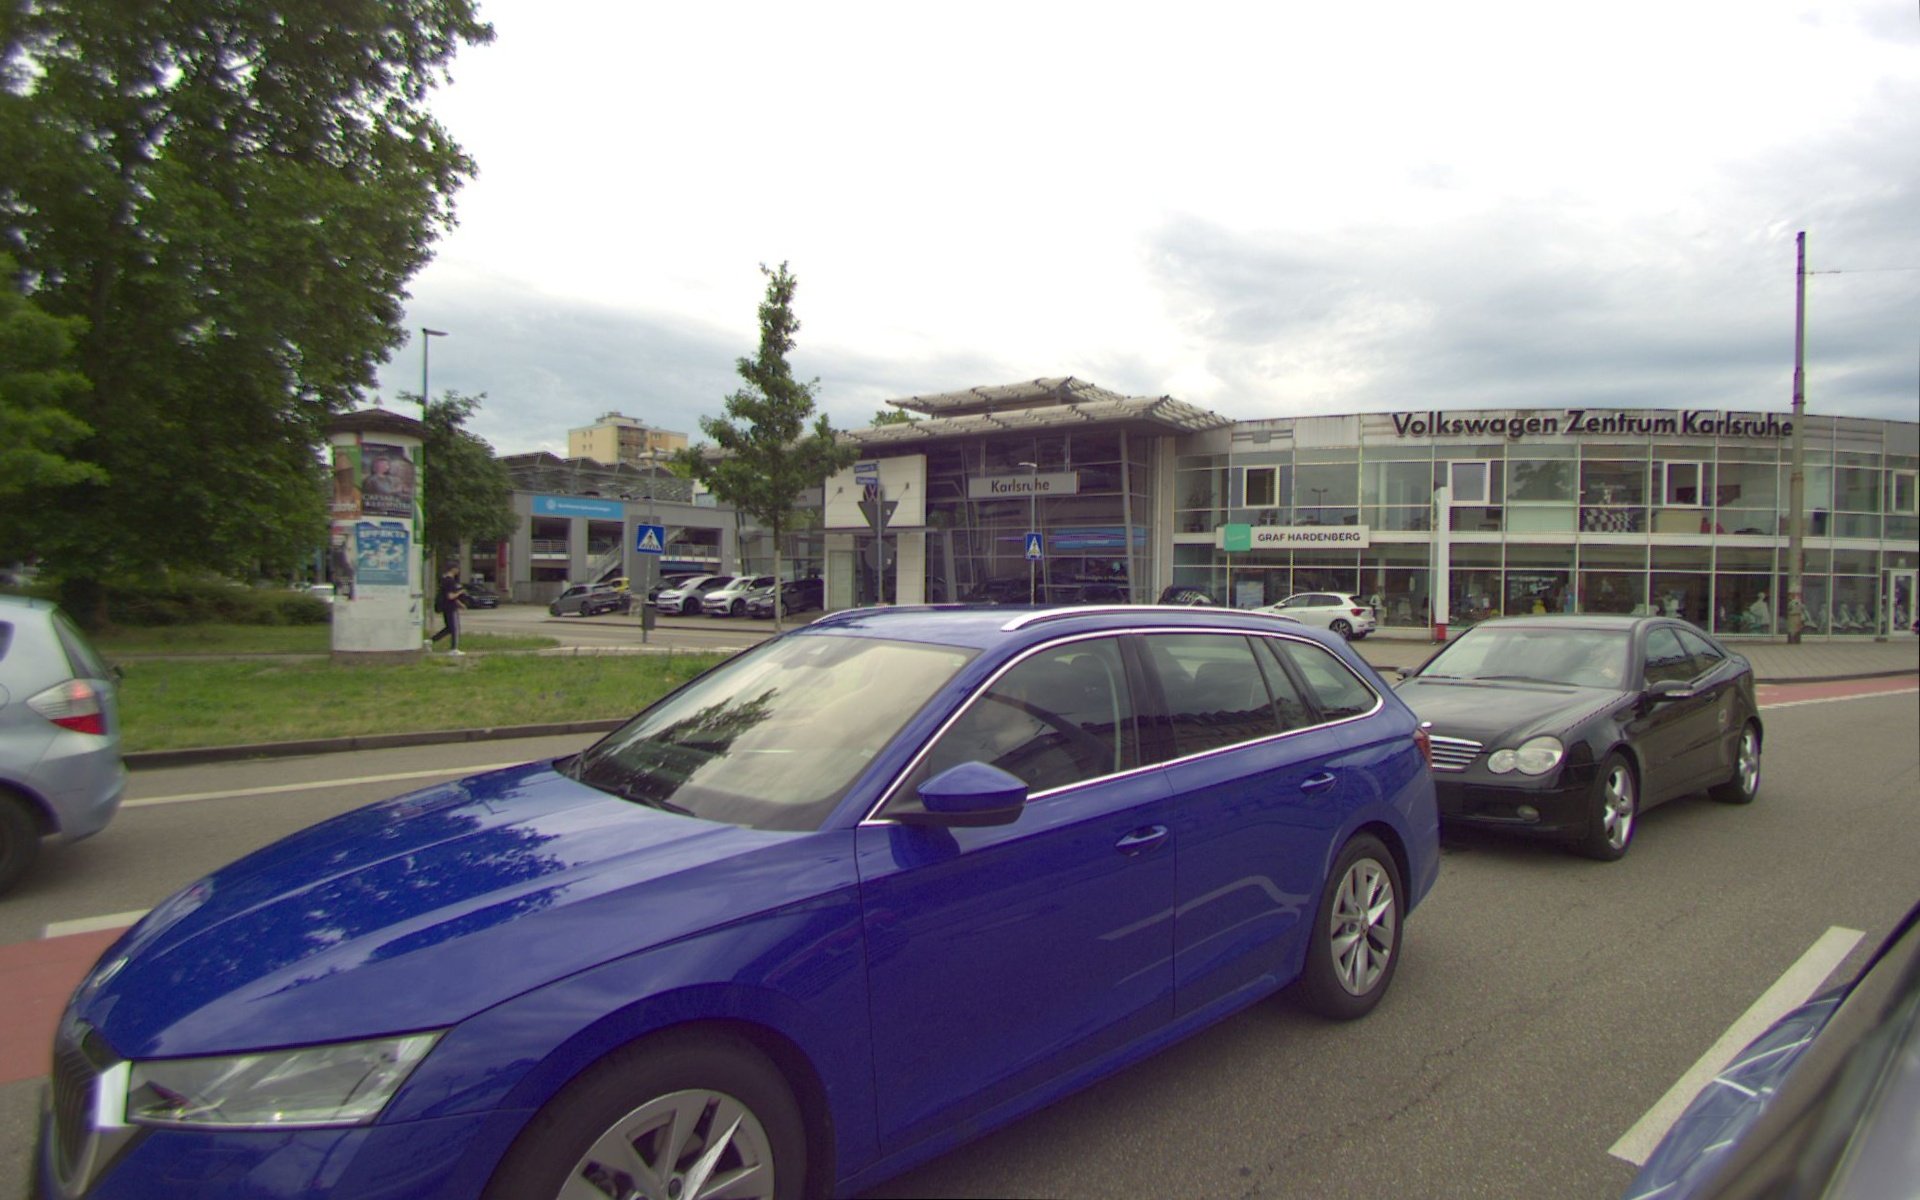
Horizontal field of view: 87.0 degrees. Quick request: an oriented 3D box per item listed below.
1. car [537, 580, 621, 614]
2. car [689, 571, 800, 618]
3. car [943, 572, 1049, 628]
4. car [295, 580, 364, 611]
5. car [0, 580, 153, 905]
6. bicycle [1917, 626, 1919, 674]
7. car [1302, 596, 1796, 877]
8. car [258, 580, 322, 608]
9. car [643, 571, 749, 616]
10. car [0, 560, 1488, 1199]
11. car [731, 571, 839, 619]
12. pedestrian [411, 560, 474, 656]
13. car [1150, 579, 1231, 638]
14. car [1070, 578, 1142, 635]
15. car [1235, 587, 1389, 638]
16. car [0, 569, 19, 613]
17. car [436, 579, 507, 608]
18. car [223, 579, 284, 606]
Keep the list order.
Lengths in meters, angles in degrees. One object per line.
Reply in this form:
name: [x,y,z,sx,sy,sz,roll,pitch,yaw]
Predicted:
car: [-18.645,-0.165,49.497,3.988,1.583,1.896,0,2,35]
car: [-9.407,-0.276,44.596,1.850,1.719,4.716,0,4,36]
car: [1.345,-0.051,35.850,1.846,1.652,4.464,0,4,31]
car: [-37.071,-0.288,59.501,4.446,1.643,1.838,2,2,35]
car: [-6.098,0.650,4.364,4.027,1.485,1.752,0,1,-41]
bicycle: [21.325,1.067,21.698,2.134,1.021,0.728,0,1,-34]
car: [4.339,0.706,7.214,3.996,1.439,1.714,0,1,-39]
car: [-41.727,-0.416,62.975,4.446,1.643,1.838,2,2,35]
car: [-11.987,-0.332,46.190,1.859,1.719,4.419,0,4,37]
car: [-0.098,0.661,3.351,4.387,1.507,1.783,-1,2,-41]
car: [-7.324,-0.251,42.851,1.886,1.717,4.421,0,4,36]
pedestrian: [-10.273,0.144,20.117,0.534,1.867,0.973,1,1,39]
car: [7.396,0.207,32.809,1.867,1.581,4.219,1,3,4]
car: [4.702,0.154,33.127,1.824,1.522,4.340,0,4,2]
car: [11.006,0.356,31.794,4.243,1.471,1.757,1,1,40]
car: [-36.507,-0.332,36.333,4.408,1.567,1.854,1,1,13]
car: [-28.994,-0.404,60.048,4.446,1.567,1.876,2,2,35]
car: [-46.035,-0.521,65.905,4.446,1.643,1.838,2,2,35]
